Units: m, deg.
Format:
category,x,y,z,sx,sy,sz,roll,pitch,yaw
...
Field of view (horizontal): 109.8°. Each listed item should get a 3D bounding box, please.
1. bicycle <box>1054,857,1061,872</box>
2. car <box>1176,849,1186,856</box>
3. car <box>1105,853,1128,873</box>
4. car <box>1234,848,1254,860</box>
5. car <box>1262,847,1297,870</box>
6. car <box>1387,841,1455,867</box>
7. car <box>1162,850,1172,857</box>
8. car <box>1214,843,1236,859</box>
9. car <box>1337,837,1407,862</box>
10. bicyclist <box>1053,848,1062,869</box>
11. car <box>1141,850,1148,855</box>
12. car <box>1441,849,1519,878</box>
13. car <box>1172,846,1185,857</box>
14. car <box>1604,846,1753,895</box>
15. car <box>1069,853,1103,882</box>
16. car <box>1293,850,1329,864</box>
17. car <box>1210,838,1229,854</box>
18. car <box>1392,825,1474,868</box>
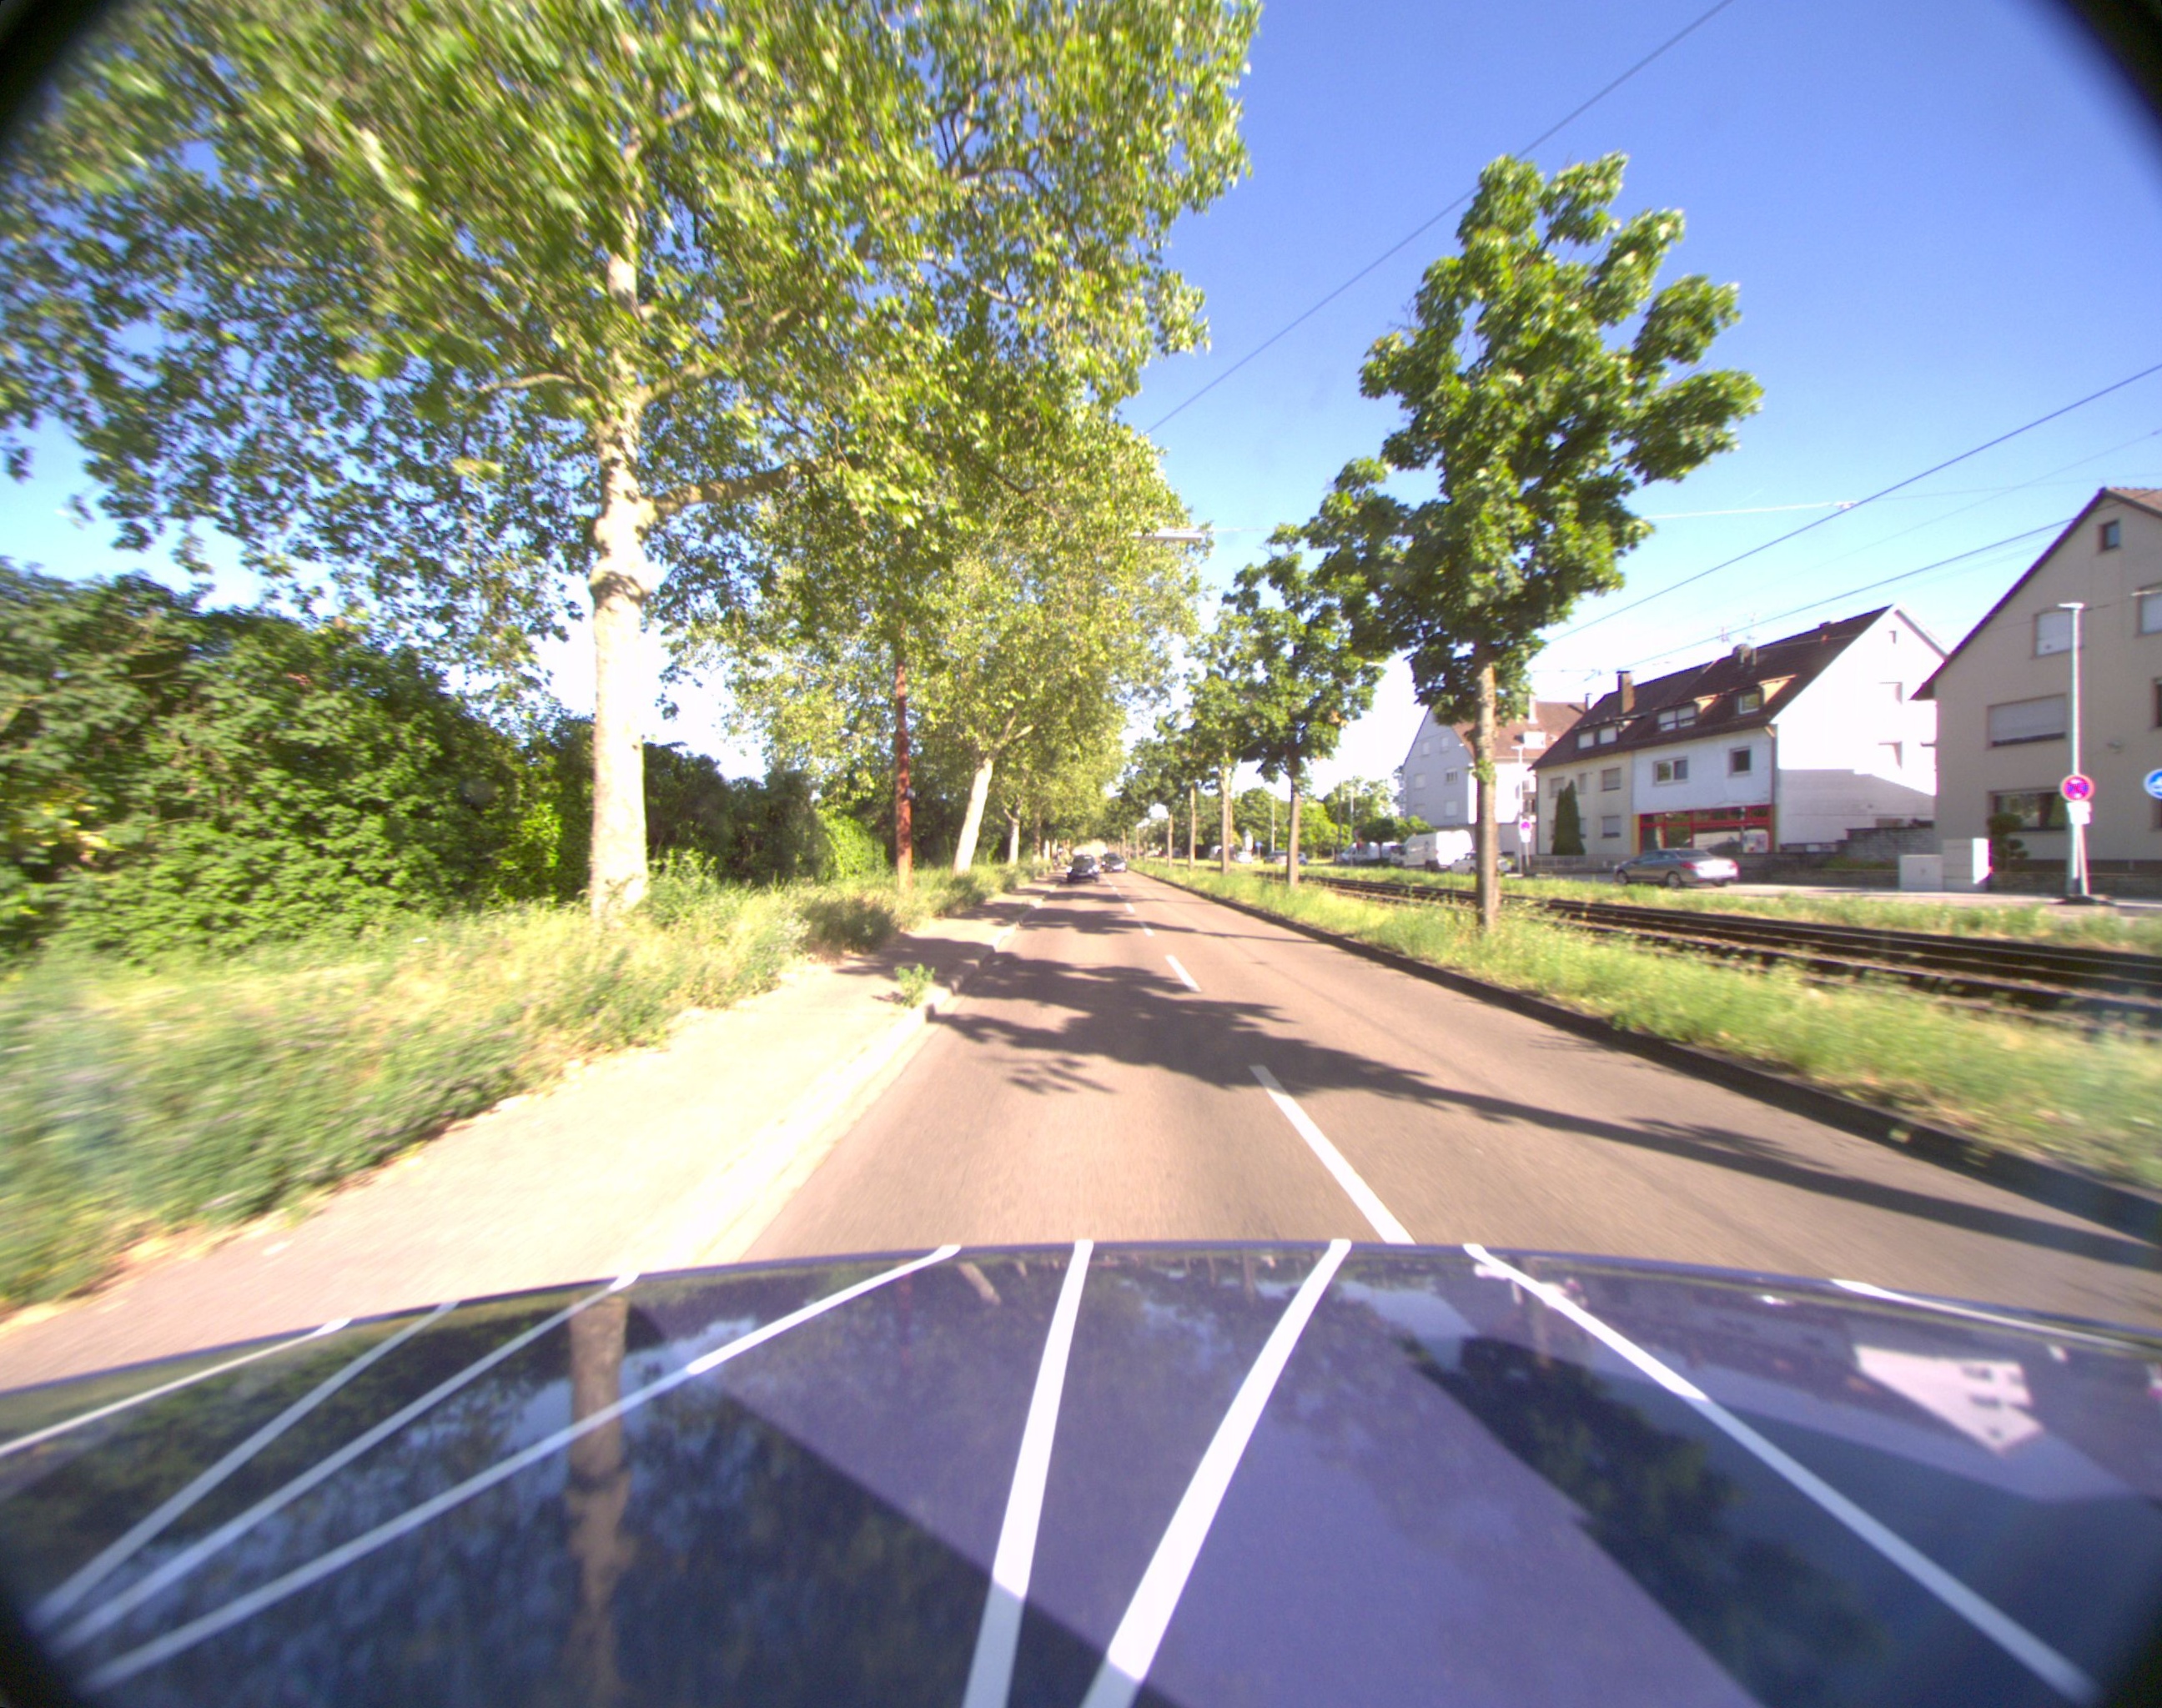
category,x,y,z,sx,sy,sz,roll,pitch,yaw
bicycle,-1.826,0.806,59.566,0.441,1.146,1.823,-1,0,1
car,23.279,-0.370,176.835,1.626,1.613,4.532,-2,1,0
car,2.856,0.729,61.991,1.714,1.478,3.546,-2,1,2
car,22.652,-0.007,105.734,1.827,1.598,4.773,-2,1,1
car,17.141,0.367,65.686,1.920,1.872,4.523,-2,1,2
car,27.296,-0.022,61.007,4.633,1.934,1.998,-2,1,-10
car,18.420,-0.133,162.328,1.680,1.401,4.000,-1,0,1
car,22.555,-0.534,119.008,2.188,2.362,6.464,-2,1,1
car,33.382,-0.516,87.325,7.086,2.493,2.329,-2,0,-4
bicyclist,-1.852,0.377,59.572,0.615,1.619,0.909,-1,1,1
car,19.793,-0.562,236.446,1.998,1.522,3.751,-1,0,2
car,21.849,0.455,41.828,1.829,1.404,4.657,-2,1,0
car,23.558,-0.656,184.250,2.231,2.565,6.798,-2,0,1
car,21.746,0.550,27.941,1.998,1.572,4.498,-2,0,1
car,0.265,0.720,43.369,1.808,1.478,3.546,-2,1,0
car,25.883,0.322,85.596,3.621,1.469,1.751,-1,1,6
car,23.065,-1.372,126.944,2.007,2.482,6.136,-2,1,0
car,21.945,-0.456,47.732,1.998,2.445,6.673,-2,1,0
